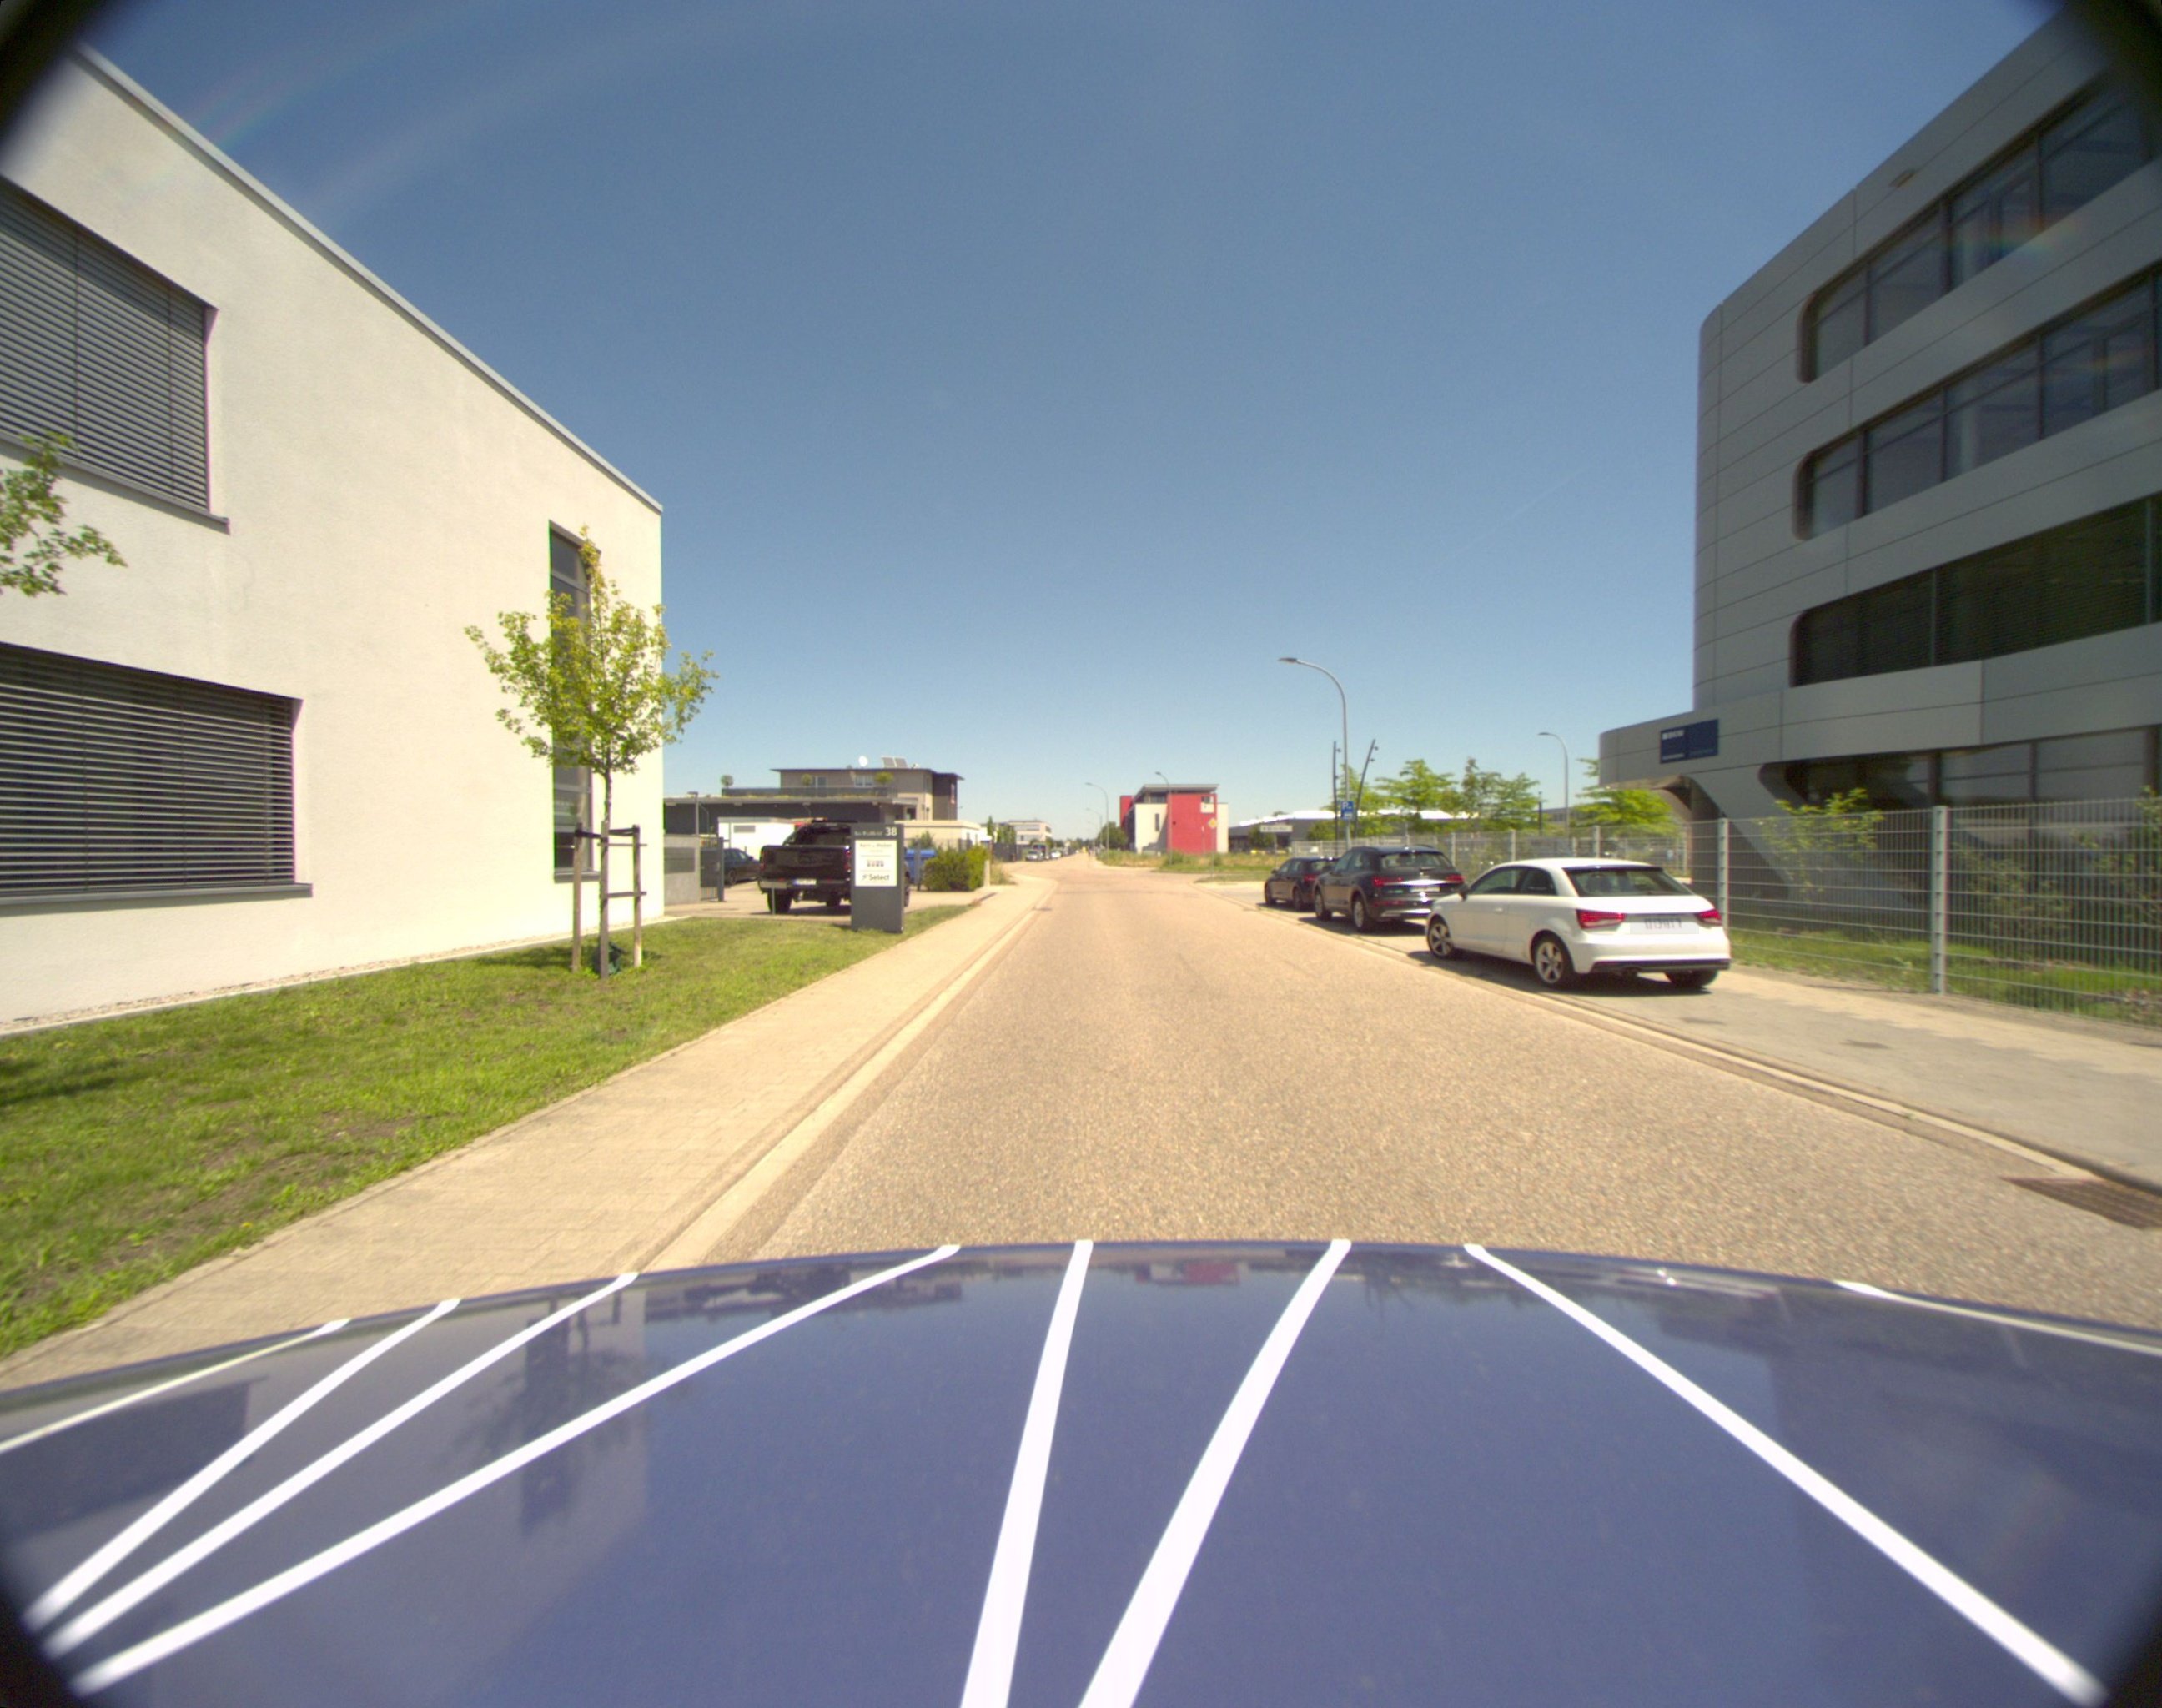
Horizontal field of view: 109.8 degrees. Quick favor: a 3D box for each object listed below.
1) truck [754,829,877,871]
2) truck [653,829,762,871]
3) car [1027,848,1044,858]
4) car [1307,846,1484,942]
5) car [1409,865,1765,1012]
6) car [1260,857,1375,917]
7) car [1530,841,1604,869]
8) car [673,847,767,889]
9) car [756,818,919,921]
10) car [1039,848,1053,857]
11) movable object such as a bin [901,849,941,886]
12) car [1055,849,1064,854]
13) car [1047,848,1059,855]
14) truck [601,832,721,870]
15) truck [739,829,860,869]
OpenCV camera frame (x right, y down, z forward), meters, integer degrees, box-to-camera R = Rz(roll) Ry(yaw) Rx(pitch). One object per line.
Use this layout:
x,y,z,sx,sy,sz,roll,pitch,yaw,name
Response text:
-20.151,-0.297,57.932,8.354,3.005,2.625,-1,1,1,truck
-28.284,-0.297,57.753,7.026,3.005,2.496,-1,1,1,truck
-5.873,-0.126,98.893,1.828,1.269,3.886,0,1,1,car
6.105,0.690,15.461,1.774,1.641,4.851,-1,0,3,car
5.833,0.855,9.433,1.704,1.378,3.936,-1,0,-2,car
6.355,0.830,20.906,1.774,1.458,4.185,-1,0,-1,car
27.734,0.082,43.508,1.610,1.467,4.116,0,-1,1,car
-14.538,0.507,30.888,1.859,1.481,3.998,0,3,0,car
-5.379,0.387,17.766,1.999,2.001,5.801,0,-2,-1,car
-5.308,-0.266,115.737,1.828,1.269,3.886,0,1,1,car
-6.666,0.561,31.697,1.387,1.514,1.170,0,1,0,movable object such as a bin
-4.927,-0.594,172.704,1.828,1.269,3.886,0,1,1,car
-4.827,-0.472,132.076,1.828,1.269,3.886,0,1,1,car
-34.725,-0.257,62.990,8.354,3.005,2.689,-1,1,1,truck
-23.109,-0.409,62.702,8.966,3.158,2.689,-1,1,1,truck
